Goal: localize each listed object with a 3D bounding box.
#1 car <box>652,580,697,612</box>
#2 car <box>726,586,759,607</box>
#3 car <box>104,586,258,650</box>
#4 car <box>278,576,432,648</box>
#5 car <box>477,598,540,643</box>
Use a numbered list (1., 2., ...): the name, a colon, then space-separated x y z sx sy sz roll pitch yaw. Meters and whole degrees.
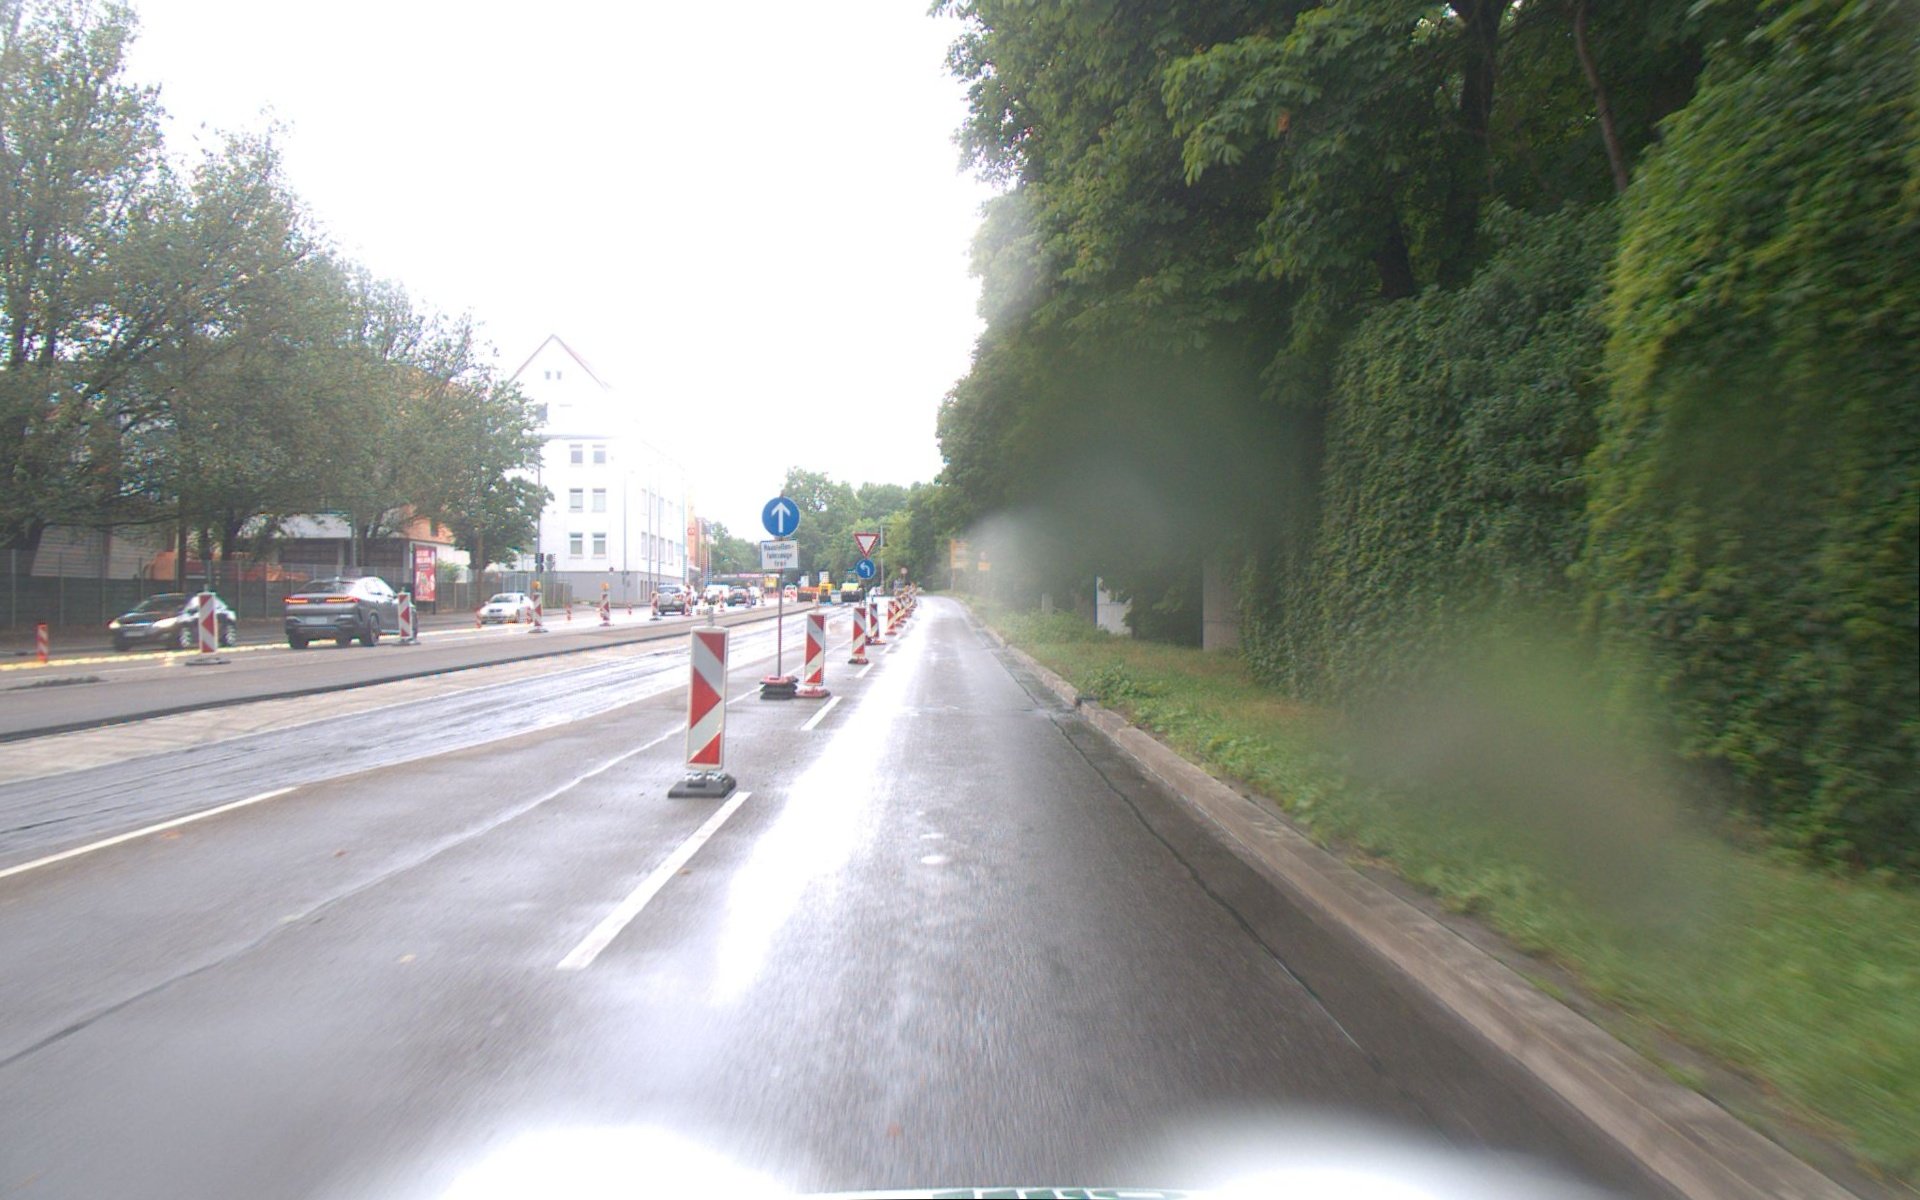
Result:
1. car: -15.544 -0.197 90.277 1.817 1.677 3.999 1 0 -1
2. car: -16.253 -0.248 123.716 1.953 1.545 3.999 1 0 -1
3. car: -20.750 0.462 44.270 1.953 1.614 4.618 0 0 -1
4. car: -14.892 0.281 41.024 2.034 1.641 5.055 1 0 -1
5. car: -21.271 0.937 78.122 1.953 2.049 3.999 1 0 -2
